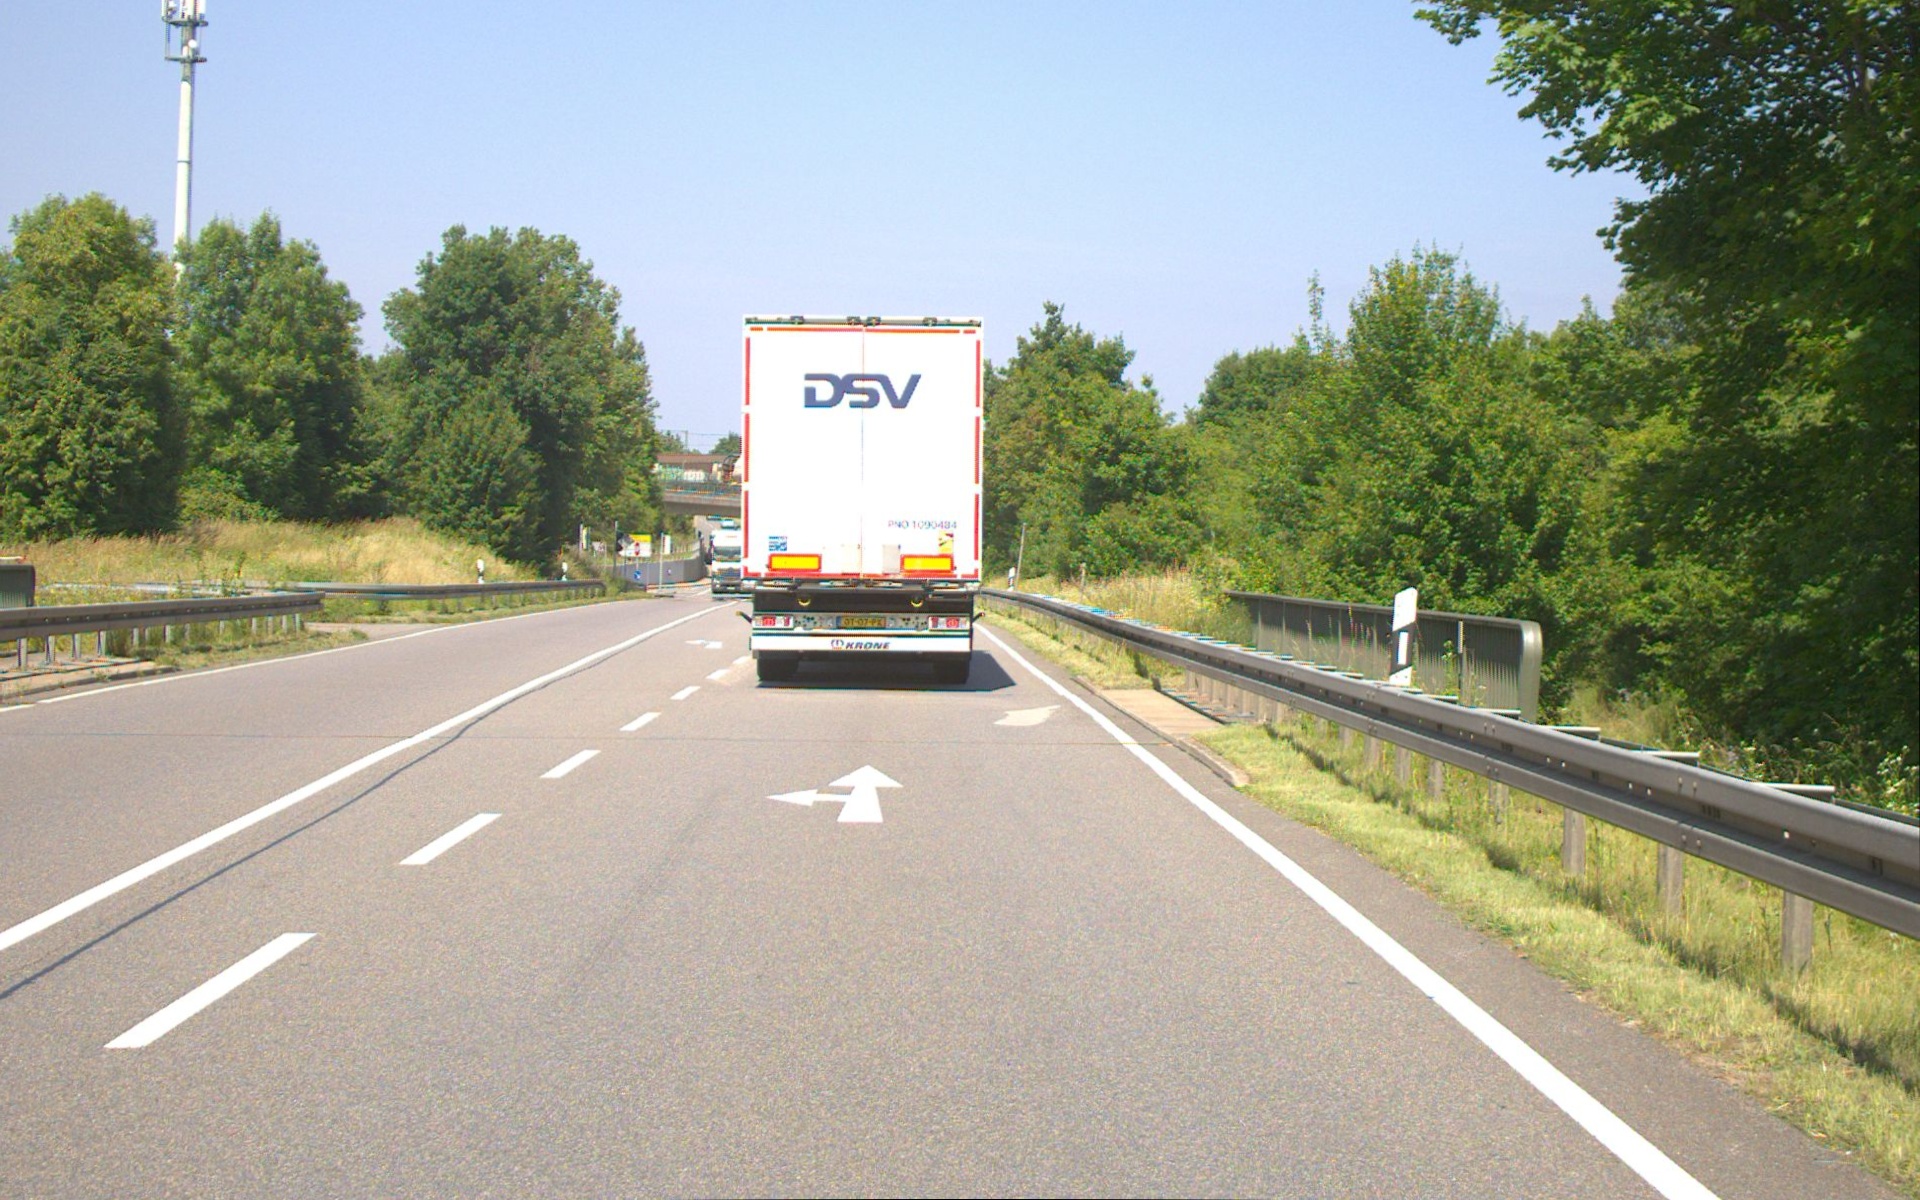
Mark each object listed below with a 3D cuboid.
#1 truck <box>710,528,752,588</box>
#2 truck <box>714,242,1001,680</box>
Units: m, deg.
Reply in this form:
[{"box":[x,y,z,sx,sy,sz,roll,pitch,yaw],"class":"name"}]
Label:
[{"box":[-14.790,-2.760,222.998,2.353,3.737,12.627,1,1,-2],"class":"truck"},{"box":[-1.163,-1.484,40.964,2.950,4.553,9.863,1,0,-1],"class":"truck"}]
